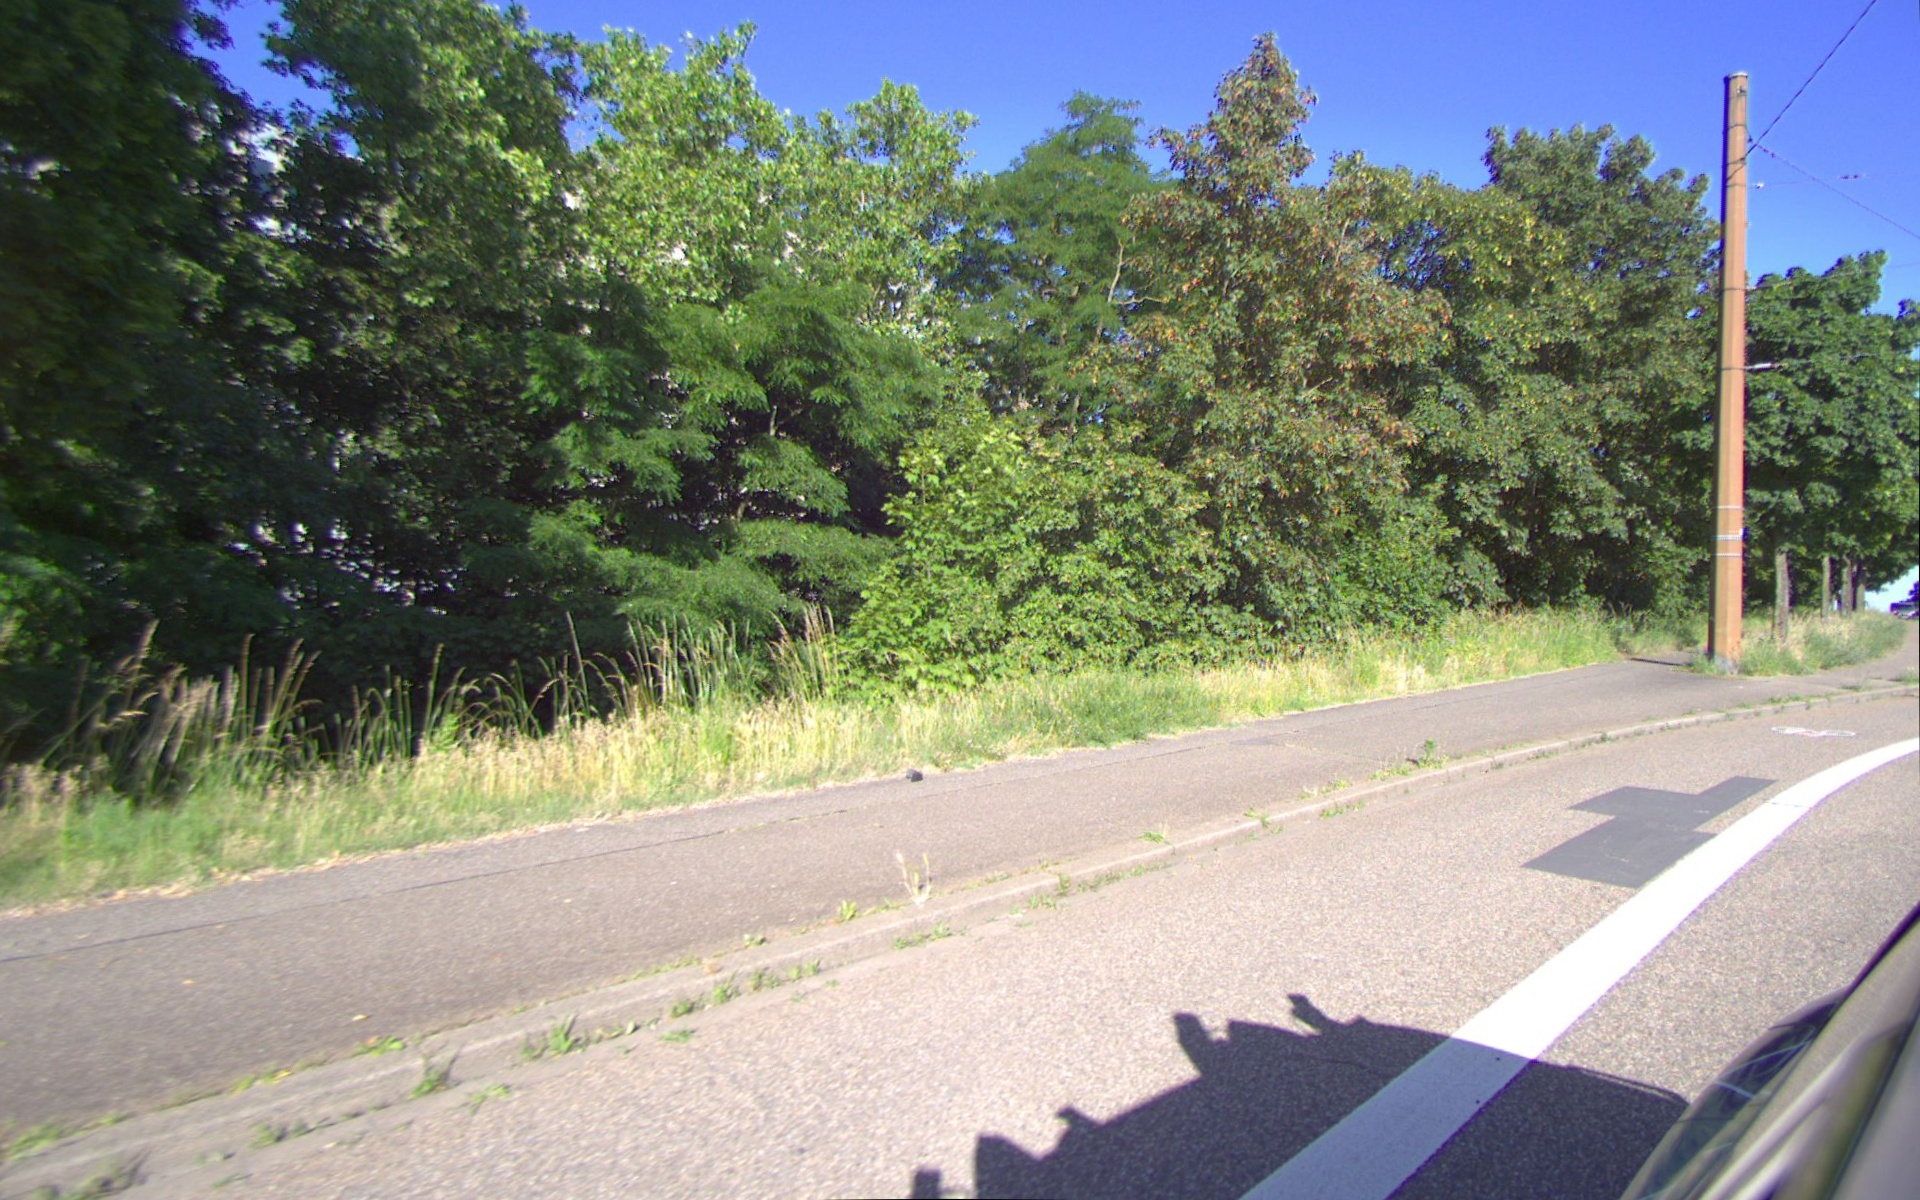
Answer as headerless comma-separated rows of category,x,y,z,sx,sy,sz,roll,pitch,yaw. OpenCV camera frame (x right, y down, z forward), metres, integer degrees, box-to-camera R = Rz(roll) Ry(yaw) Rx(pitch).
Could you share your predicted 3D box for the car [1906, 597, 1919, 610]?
car,114.826,0.416,121.172,1.989,1.606,3.945,-1,0,38
